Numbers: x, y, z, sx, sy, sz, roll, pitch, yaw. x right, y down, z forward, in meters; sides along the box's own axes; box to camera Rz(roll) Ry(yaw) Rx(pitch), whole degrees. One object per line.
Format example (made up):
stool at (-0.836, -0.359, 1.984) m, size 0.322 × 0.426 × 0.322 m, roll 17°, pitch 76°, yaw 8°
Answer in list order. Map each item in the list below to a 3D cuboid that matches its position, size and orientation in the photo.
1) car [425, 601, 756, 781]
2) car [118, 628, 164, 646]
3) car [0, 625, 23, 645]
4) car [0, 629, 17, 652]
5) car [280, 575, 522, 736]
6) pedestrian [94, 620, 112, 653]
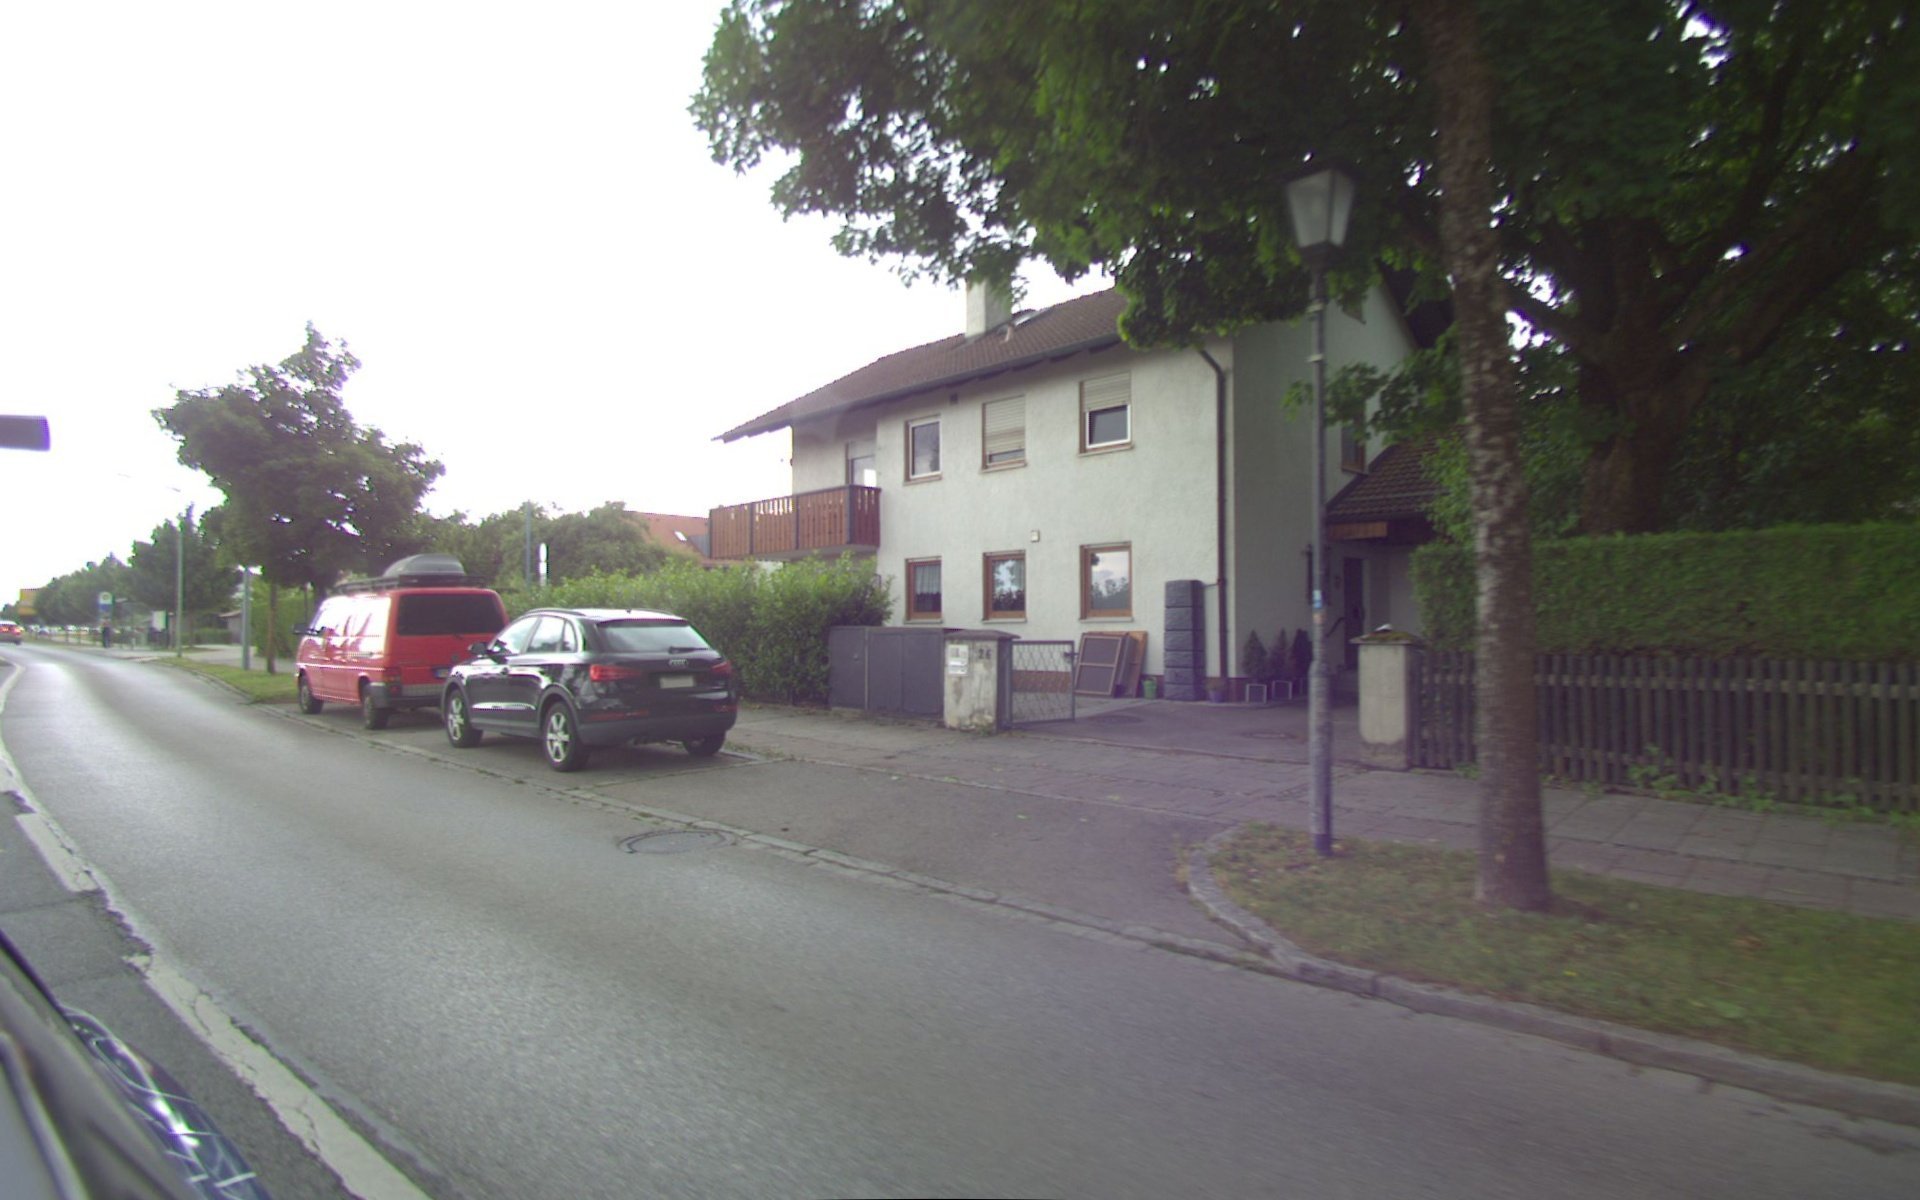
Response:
car at (-4.226, 0.870, 11.188) m, size 4.238 × 1.610 × 1.752 m, roll -2°, pitch -1°, yaw 44°
car at (-104.889, 4.693, 129.671) m, size 4.504 × 2.029 × 2.002 m, roll -1°, pitch 0°, yaw -43°
car at (-99.402, 3.657, 103.337) m, size 1.982 × 2.029 × 5.290 m, roll -1°, pitch 0°, yaw 16°
car at (-66.988, 2.797, 70.536) m, size 1.687 × 1.544 × 3.509 m, roll 3°, pitch -4°, yaw -45°
car at (-8.577, 0.772, 15.292) m, size 5.047 × 2.046 × 1.809 m, roll -2°, pitch -2°, yaw 44°
pedestrian at (-43.911, 1.873, 51.836) m, size 0.813 × 1.649 × 0.582 m, roll -2°, pitch -2°, yaw 43°
